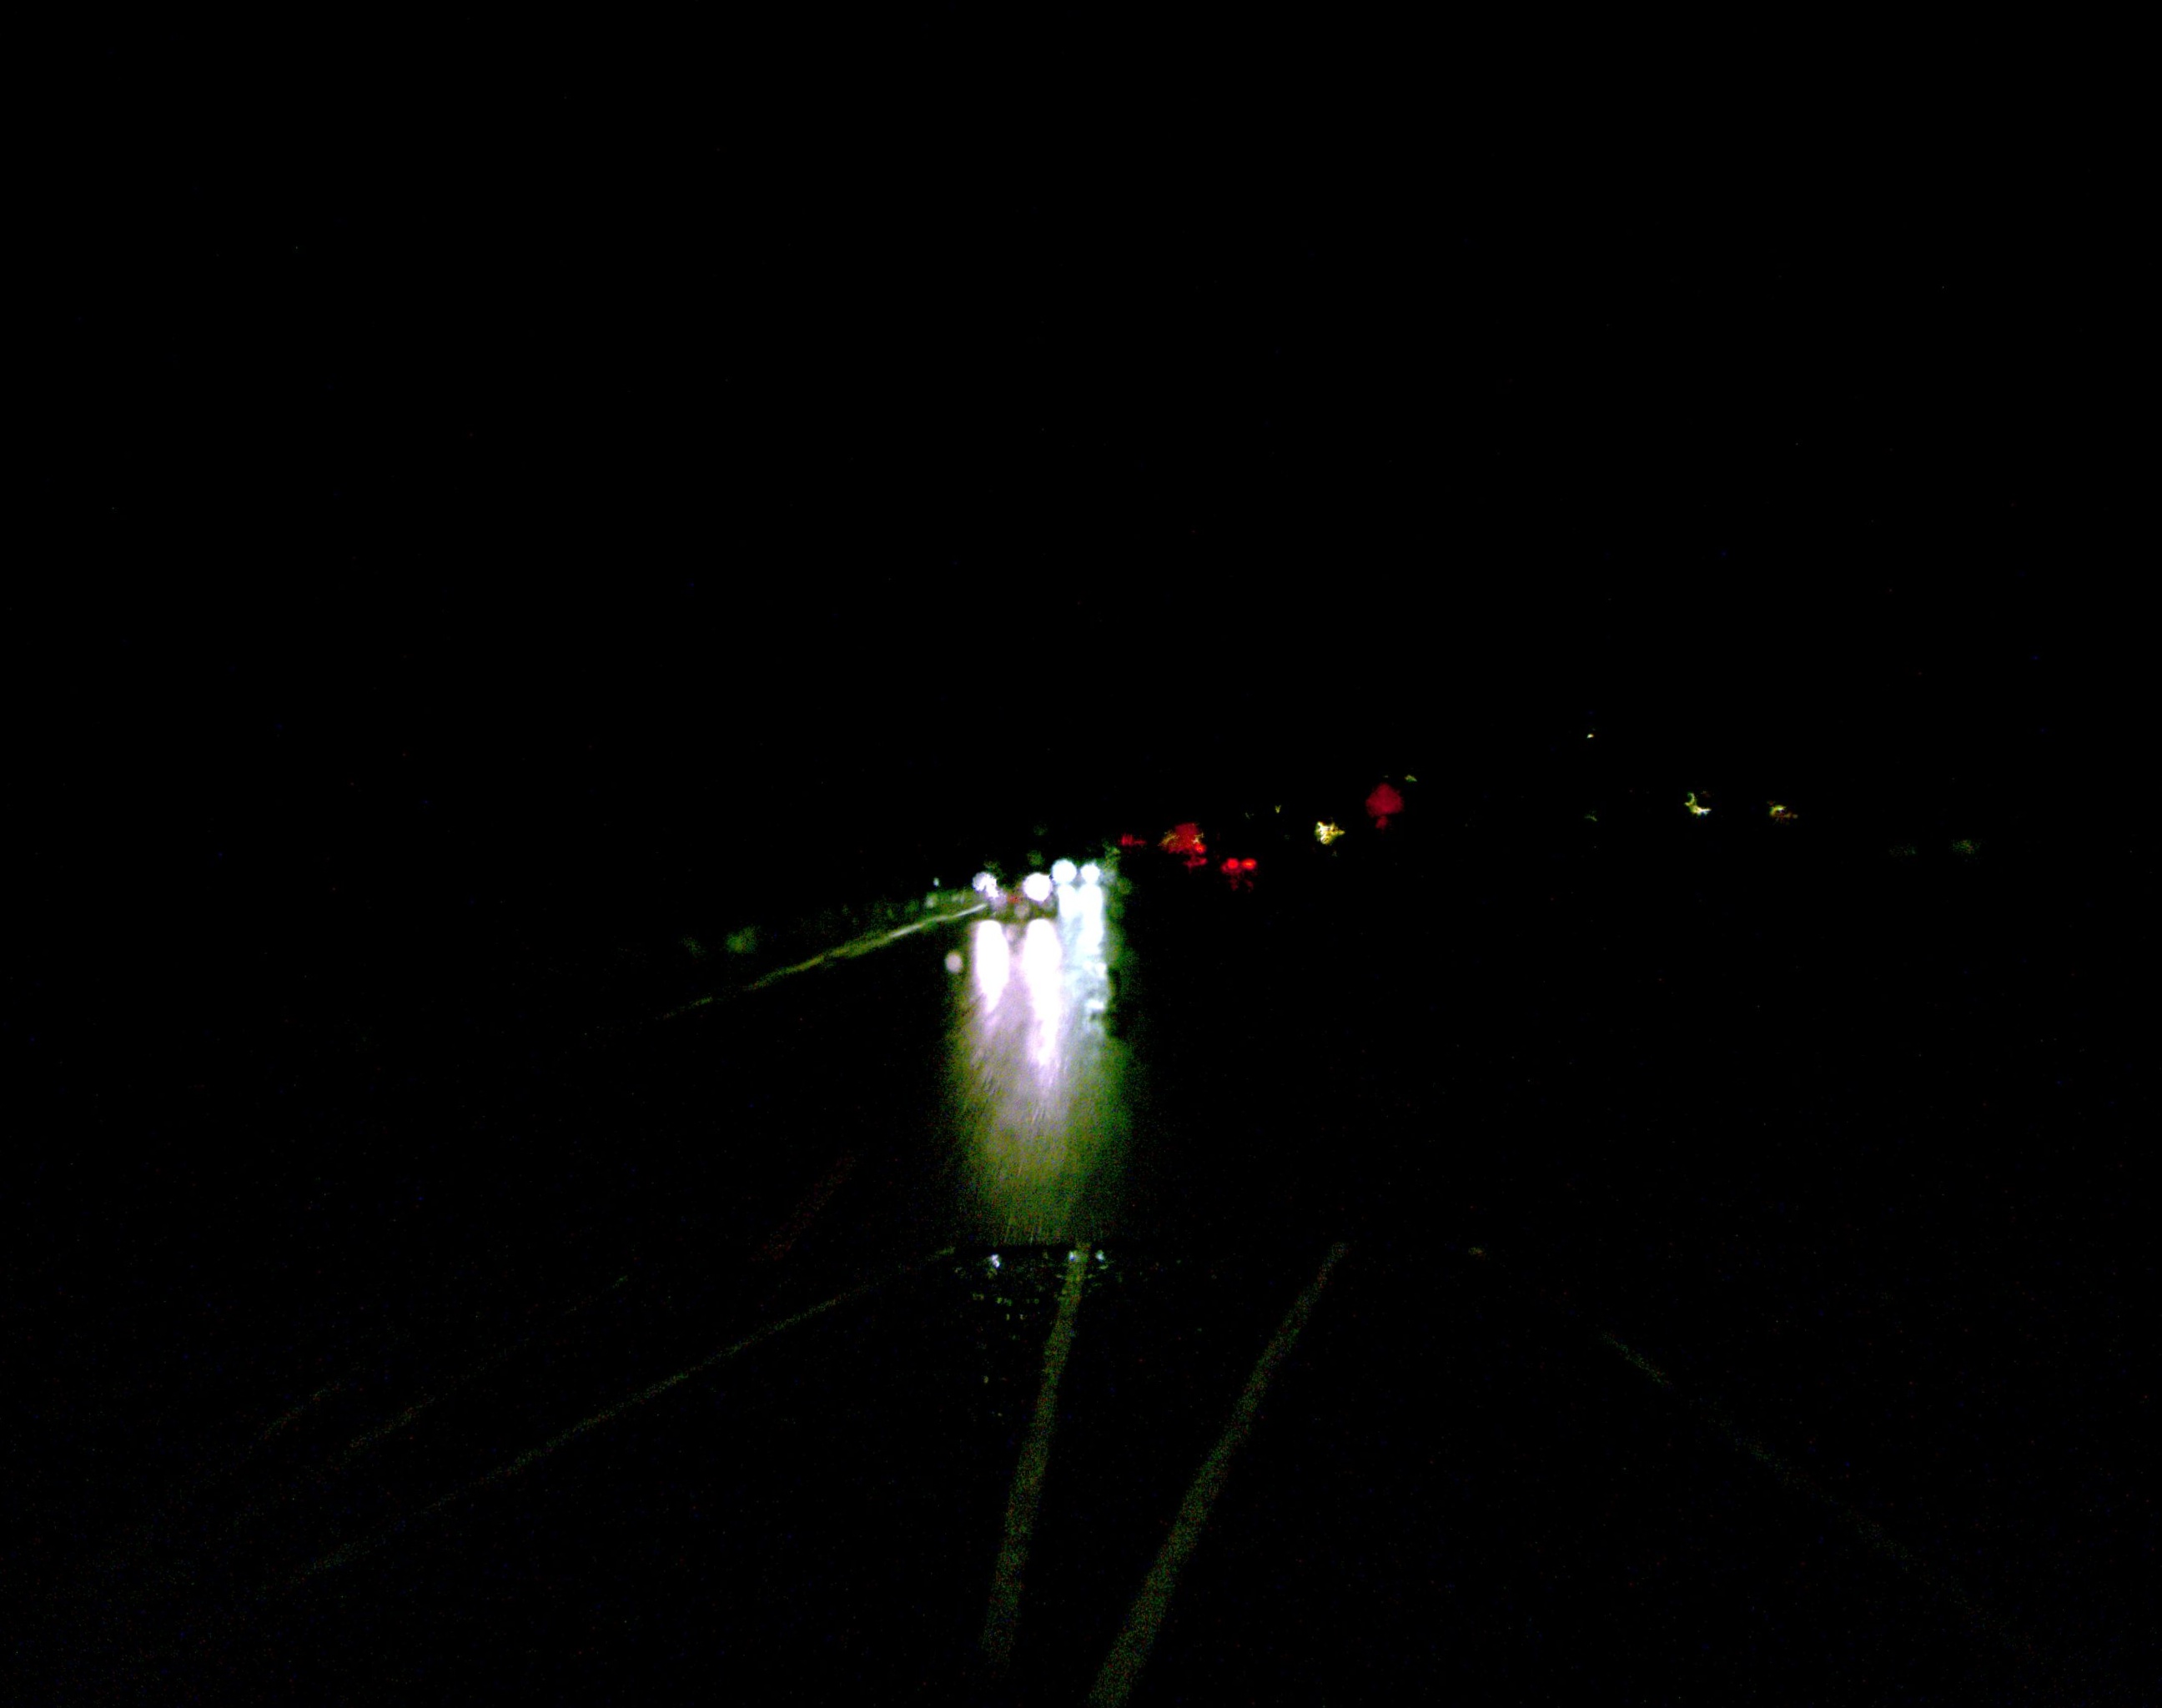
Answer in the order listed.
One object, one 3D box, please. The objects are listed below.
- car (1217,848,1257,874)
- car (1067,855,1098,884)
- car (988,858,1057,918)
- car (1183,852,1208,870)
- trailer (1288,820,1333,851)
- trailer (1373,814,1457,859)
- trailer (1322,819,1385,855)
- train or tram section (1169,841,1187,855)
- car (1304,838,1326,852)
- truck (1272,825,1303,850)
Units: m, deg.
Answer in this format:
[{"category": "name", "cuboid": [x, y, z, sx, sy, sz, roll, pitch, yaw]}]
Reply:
[{"category": "car", "cuboid": [10.910, 0.472, 53.508, 1.766, 1.632, 4.652, -3, 0, -1]}, {"category": "car", "cuboid": [0.034, 0.919, 47.745, 1.788, 1.638, 4.435, -3, 0, -1]}, {"category": "car", "cuboid": [-1.769, 0.995, 24.231, 1.790, 1.684, 4.219, -2, 0, 0]}, {"category": "car", "cuboid": [11.067, 0.665, 73.620, 1.806, 1.579, 4.030, -3, 1, 0]}, {"category": "trailer", "cuboid": [41.794, -3.343, 139.181, 3.980, 4.984, 14.834, -6, 1, 2]}, {"category": "trailer", "cuboid": [39.672, -2.112, 91.121, 3.980, 4.583, 14.247, -6, 1, 2]}, {"category": "trailer", "cuboid": [40.219, -2.475, 113.133, 3.980, 4.583, 15.514, -6, 1, 2]}, {"category": "train or tram section", "cuboid": [32.467, -2.185, 256.864, 2.702, 3.793, 37.144, -6, 1, 3]}, {"category": "car", "cuboid": [31.695, -1.154, 103.008, 1.790, 1.684, 4.219, -4, 0, 1]}, {"category": "truck", "cuboid": [42.373, -3.425, 156.304, 3.447, 4.583, 10.212, -6, 1, 2]}]
